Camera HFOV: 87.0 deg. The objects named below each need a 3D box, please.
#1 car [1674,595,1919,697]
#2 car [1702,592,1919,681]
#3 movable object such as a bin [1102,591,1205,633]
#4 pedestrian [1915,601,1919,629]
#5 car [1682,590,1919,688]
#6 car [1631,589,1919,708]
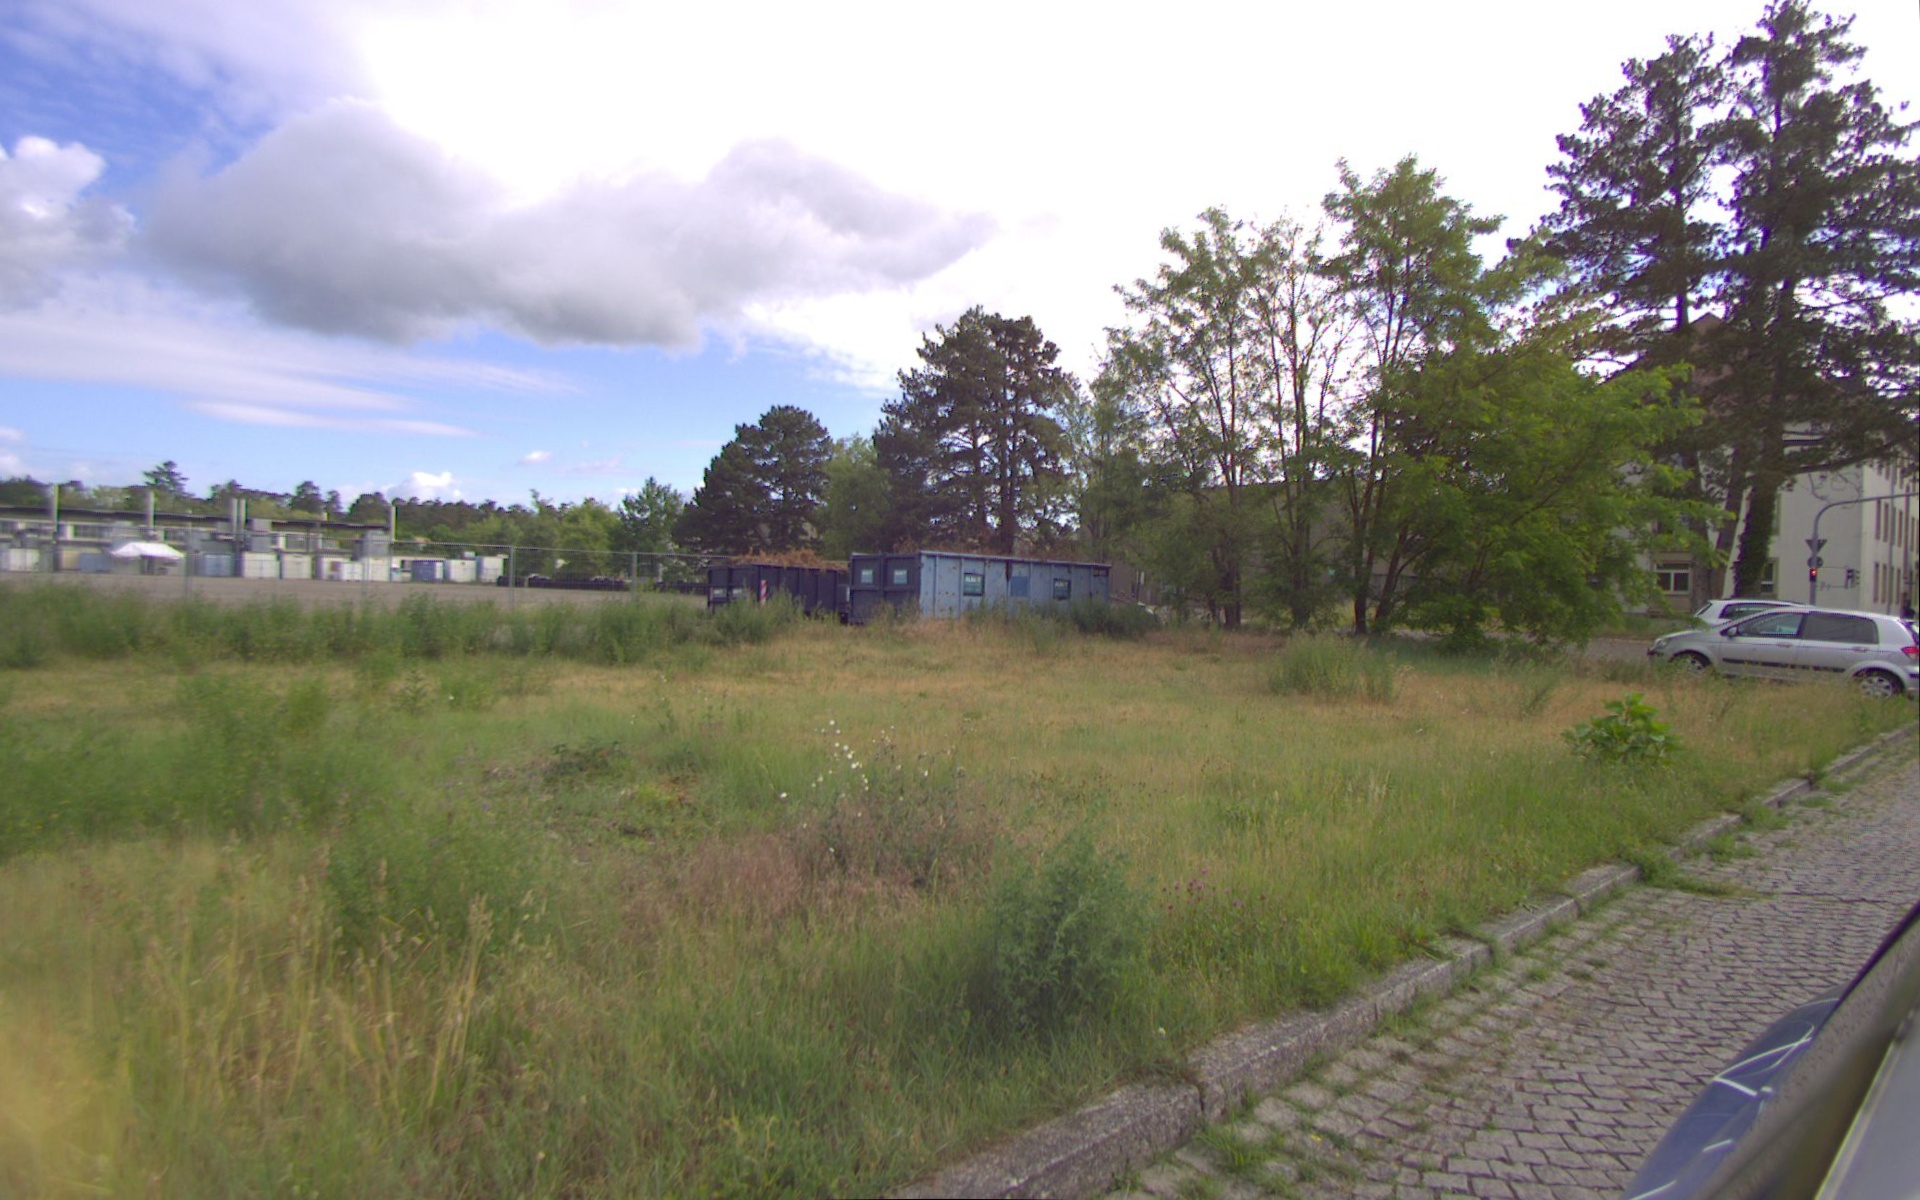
[{"bbox_3d":[16.171,0.819,19.071,1.853,1.470,4.081,1,4,-42],"label":"car"},{"bbox_3d":[19.766,0.793,22.844,1.873,1.584,4.501,1,4,-42],"label":"car"},{"bbox_3d":[5.077,0.305,26.721,0.839,1.000,2.685,1,1,-43],"label":"movable object such as a bin"},{"bbox_3d":[59.668,0.925,62.711,0.522,1.722,0.569,2,0,-37],"label":"pedestrian"},{"bbox_3d":[17.913,0.761,21.152,1.854,1.615,4.246,1,4,-44],"label":"car"},{"bbox_3d":[14.158,0.750,17.331,1.773,1.533,4.081,1,4,-42],"label":"car"}]
